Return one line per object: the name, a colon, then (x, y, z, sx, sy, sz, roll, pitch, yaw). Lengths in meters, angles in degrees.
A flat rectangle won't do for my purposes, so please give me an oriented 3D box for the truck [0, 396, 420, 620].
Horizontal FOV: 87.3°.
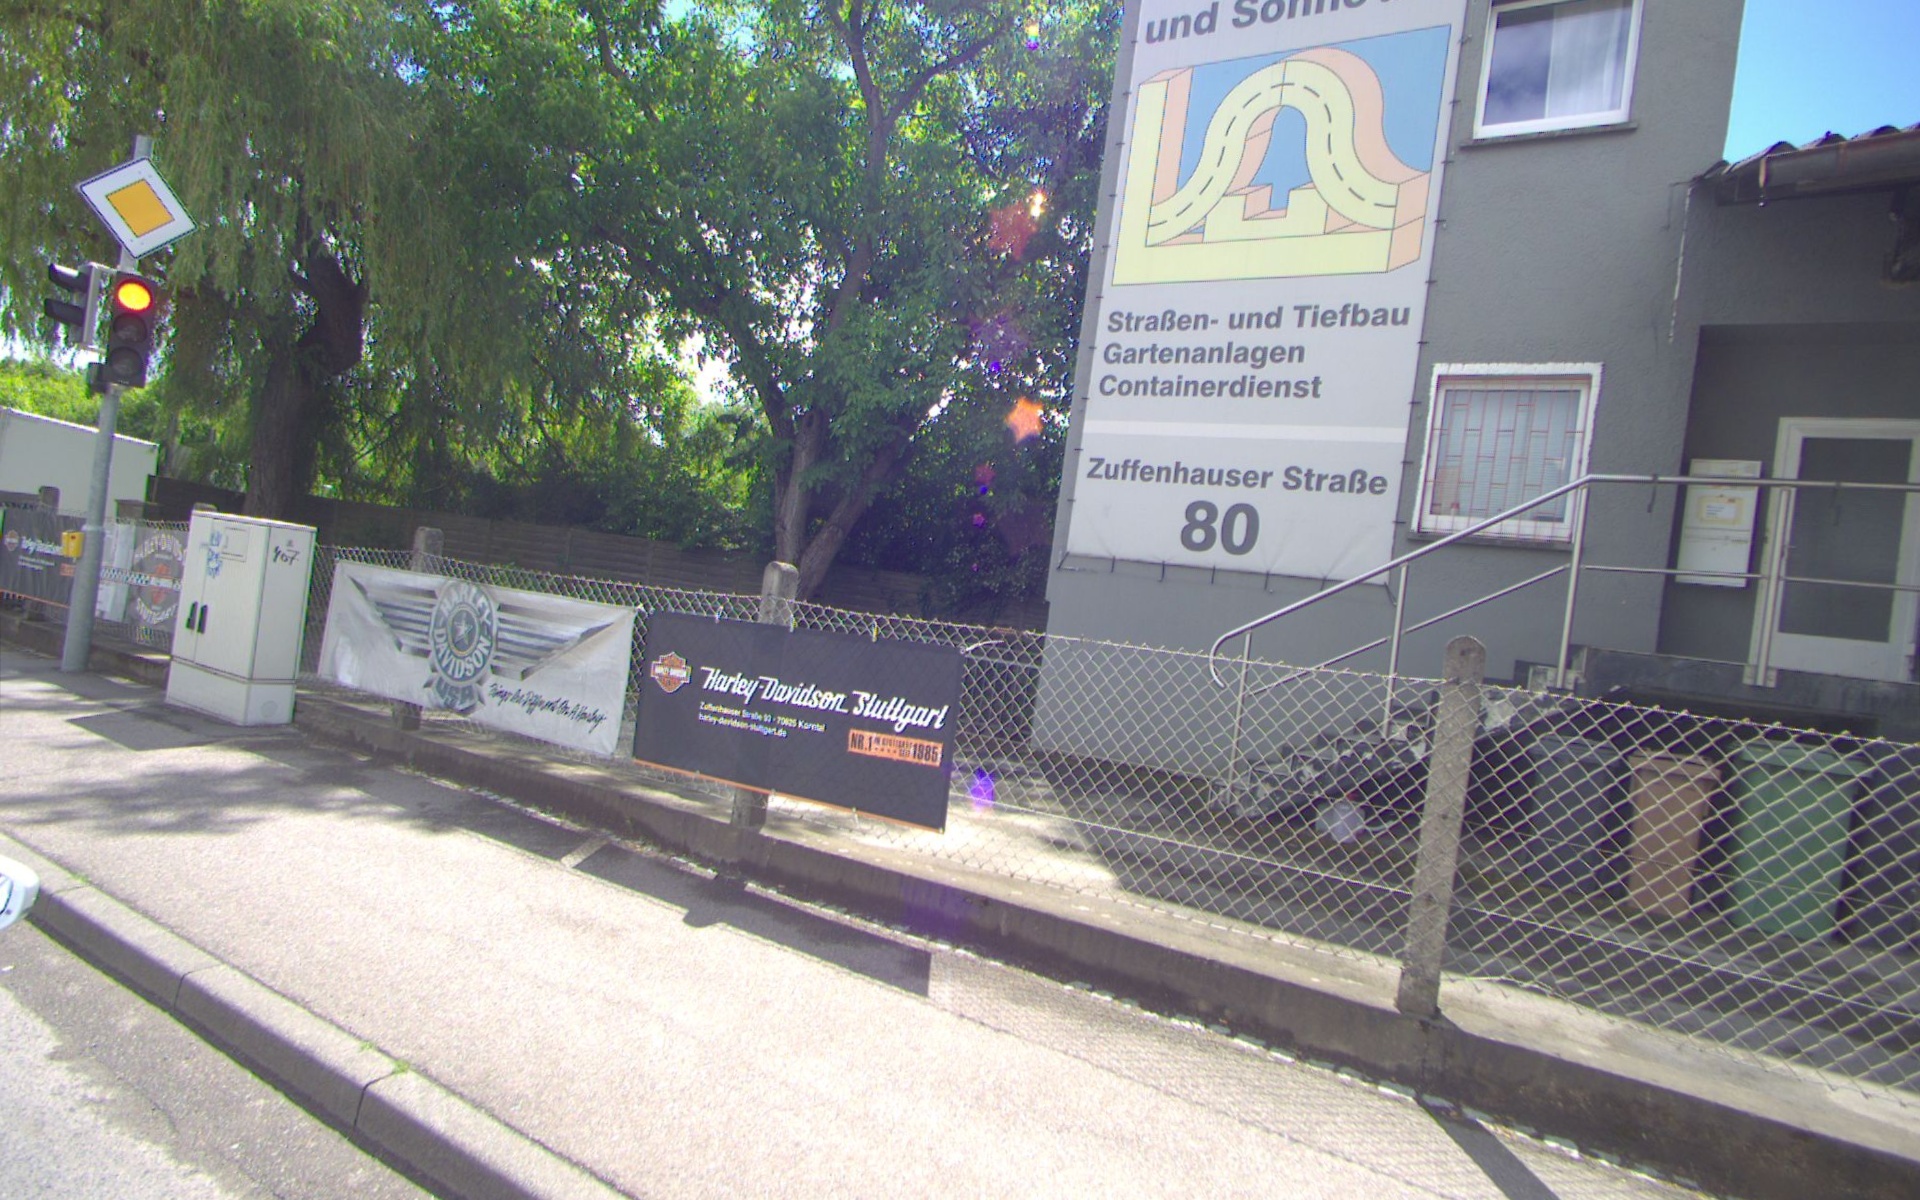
truck: (-18.816, -1.918, 24.779, 2.797, 3.578, 9.735, 7, -4, 24)
